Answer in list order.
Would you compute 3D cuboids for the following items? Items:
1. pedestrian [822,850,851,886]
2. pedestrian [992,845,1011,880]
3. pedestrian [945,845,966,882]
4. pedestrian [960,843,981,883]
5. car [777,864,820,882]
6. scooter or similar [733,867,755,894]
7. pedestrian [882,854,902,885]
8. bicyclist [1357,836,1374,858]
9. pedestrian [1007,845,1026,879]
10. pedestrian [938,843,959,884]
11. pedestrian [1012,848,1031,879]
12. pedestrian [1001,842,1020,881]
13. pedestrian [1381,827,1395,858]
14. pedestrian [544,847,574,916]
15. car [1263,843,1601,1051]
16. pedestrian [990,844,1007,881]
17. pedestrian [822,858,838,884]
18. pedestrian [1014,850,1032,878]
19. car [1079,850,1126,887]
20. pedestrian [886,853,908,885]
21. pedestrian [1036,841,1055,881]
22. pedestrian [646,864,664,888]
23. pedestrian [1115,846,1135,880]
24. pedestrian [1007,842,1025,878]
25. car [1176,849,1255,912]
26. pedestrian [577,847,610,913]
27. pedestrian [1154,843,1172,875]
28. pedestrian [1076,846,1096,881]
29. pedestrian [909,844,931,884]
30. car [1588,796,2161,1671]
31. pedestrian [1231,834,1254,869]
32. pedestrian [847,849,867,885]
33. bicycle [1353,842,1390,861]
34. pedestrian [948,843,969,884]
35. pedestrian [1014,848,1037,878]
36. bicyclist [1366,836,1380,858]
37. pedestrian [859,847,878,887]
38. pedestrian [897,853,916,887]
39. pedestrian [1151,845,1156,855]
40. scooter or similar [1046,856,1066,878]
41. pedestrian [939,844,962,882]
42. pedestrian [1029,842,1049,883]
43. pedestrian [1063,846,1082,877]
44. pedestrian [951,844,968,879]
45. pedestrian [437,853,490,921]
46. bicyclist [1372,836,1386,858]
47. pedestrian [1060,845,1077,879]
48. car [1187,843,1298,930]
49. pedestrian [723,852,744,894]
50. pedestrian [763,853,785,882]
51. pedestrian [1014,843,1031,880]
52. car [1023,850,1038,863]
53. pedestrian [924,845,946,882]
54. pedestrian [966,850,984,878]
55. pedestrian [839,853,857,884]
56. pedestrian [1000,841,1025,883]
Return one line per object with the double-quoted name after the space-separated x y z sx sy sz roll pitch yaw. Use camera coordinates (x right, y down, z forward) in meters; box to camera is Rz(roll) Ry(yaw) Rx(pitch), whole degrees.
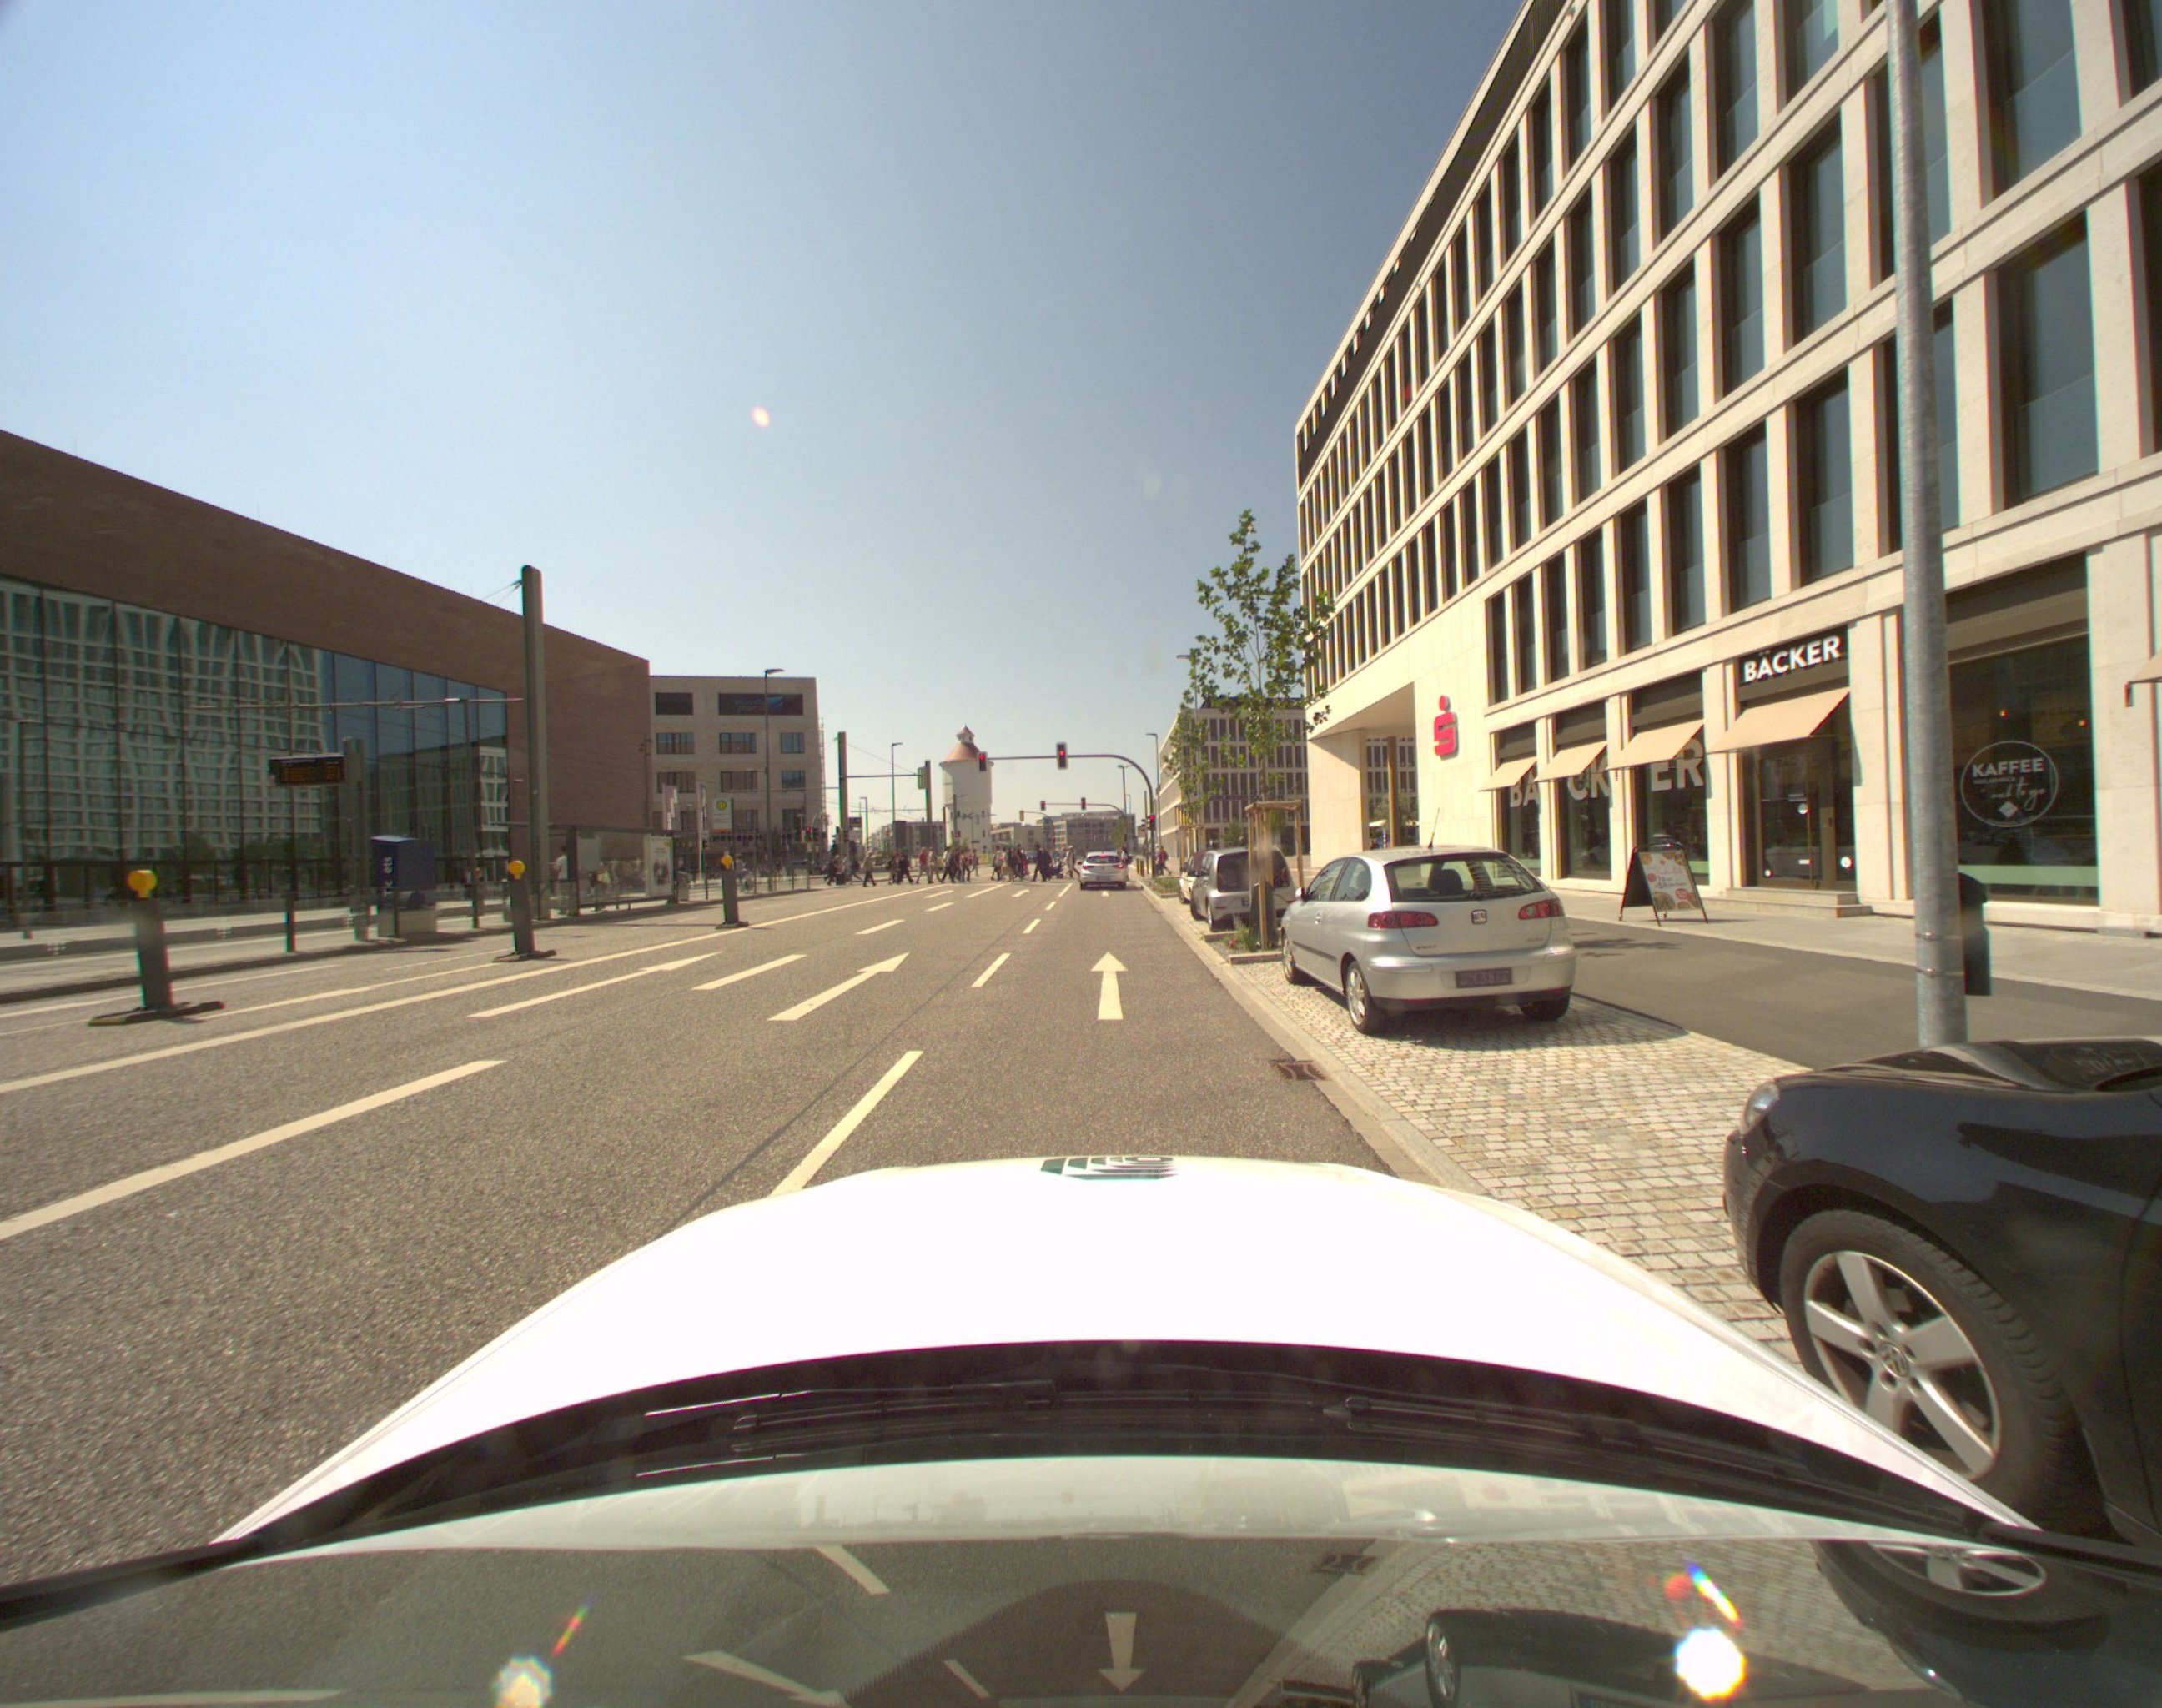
-13.218 0.749 44.077 1.164 1.890 1.061 -2 2 3 "pedestrian"
-4.018 0.442 41.183 0.763 1.734 0.692 -2 0 2 "pedestrian"
-6.561 0.482 42.720 0.884 1.890 0.797 -2 0 1 "pedestrian"
-5.344 0.412 39.521 0.886 1.890 0.691 -2 0 -4 "pedestrian"
-29.276 1.979 84.346 3.942 1.816 1.791 -1 -1 -11 "car"
-13.630 1.072 32.930 0.502 1.059 0.834 -2 0 1 "scooter or similar"
-9.602 0.788 41.384 0.724 1.576 0.642 -2 0 6 "pedestrian"
17.606 -0.428 50.344 0.616 1.360 0.898 -2 0 -10 "bicyclist"
-3.219 0.407 40.688 0.790 1.647 0.891 -2 0 3 "pedestrian"
-6.338 0.444 38.972 0.886 1.890 0.691 -2 0 -4 "pedestrian"
-3.301 0.515 45.355 0.883 1.647 0.797 -2 0 5 "pedestrian"
-3.460 0.373 39.935 0.726 1.890 0.822 -2 0 7 "pedestrian"
20.479 -0.770 54.307 0.641 2.013 0.622 -2 0 1 "pedestrian"
-13.962 0.723 21.807 0.551 1.820 0.596 0 0 -20 "pedestrian"
2.941 0.657 7.751 1.599 1.387 3.816 -4 0 2 "car"
-4.264 0.421 42.167 0.763 1.890 0.692 -2 0 2 "pedestrian"
-16.490 1.090 53.483 0.663 1.681 0.700 -2 0 42 "pedestrian"
-3.473 0.604 48.664 0.883 1.647 0.797 -2 0 5 "pedestrian"
0.901 0.595 32.411 1.764 1.395 3.535 0 -1 3 "car"
-9.804 0.788 43.416 0.906 1.637 0.815 -2 0 6 "pedestrian"
-1.741 0.345 39.983 0.886 1.890 0.795 -2 0 -4 "pedestrian"
-28.280 1.465 54.086 0.708 1.571 0.891 -2 0 1 "pedestrian"
2.159 0.424 39.586 0.760 1.620 0.695 -2 0 18 "pedestrian"
-3.483 0.320 43.711 0.837 1.890 0.692 -2 0 2 "pedestrian"
3.304 0.599 20.594 1.424 1.390 4.001 -2 0 1 "car"
-13.777 0.722 23.031 0.665 1.820 0.718 0 0 -21 "pedestrian"
4.310 0.283 43.015 0.883 1.646 0.798 -2 0 5 "pedestrian"
0.240 0.440 39.004 0.886 1.635 0.691 -2 0 -4 "pedestrian"
-7.803 0.482 39.424 0.886 1.890 0.691 -2 0 -4 "pedestrian"
2.698 0.611 0.806 1.732 1.474 3.977 -4 0 -2 "car"
7.852 -0.135 39.698 0.986 1.655 0.692 -2 0 3 "pedestrian"
-12.715 0.739 46.266 1.022 2.013 0.949 -2 0 -17 "pedestrian"
17.970 -0.152 50.404 1.962 1.083 0.902 -2 0 -10 "bicycle"
-5.738 0.428 38.217 0.886 1.890 0.691 -2 0 -4 "pedestrian"
-3.414 0.542 50.306 1.175 1.820 1.070 -2 0 5 "pedestrian"
18.097 -0.436 50.433 0.358 1.360 0.911 -2 0 -10 "bicyclist"
-10.254 0.617 39.282 0.634 1.890 0.797 -2 0 3 "pedestrian"
-8.619 0.789 40.186 0.630 1.618 0.770 -2 0 7 "pedestrian"
11.762 -0.596 131.963 0.791 1.647 0.891 -2 0 1 "pedestrian"
-1.365 0.692 44.186 0.950 1.118 0.765 -2 0 -8 "scooter or similar"
-6.573 0.460 41.091 0.883 1.890 0.798 -2 0 6 "pedestrian"
-2.037 0.410 39.122 0.886 1.890 0.795 -2 0 -4 "pedestrian"
-0.459 0.382 44.322 0.887 1.647 0.794 -2 0 -8 "pedestrian"
-6.585 0.402 44.056 0.730 1.890 0.715 0 0 6 "pedestrian"
-16.869 0.874 22.263 0.808 1.820 0.825 0 0 2 "pedestrian"
18.462 -0.447 50.502 0.358 1.360 0.899 -2 0 -9 "bicyclist"
-0.655 0.411 42.909 0.763 1.734 0.692 -2 0 2 "pedestrian"
3.047 0.570 15.988 1.550 1.472 3.471 -2 0 1 "car"
-13.657 0.753 32.045 0.502 1.622 0.650 -2 0 1 "pedestrian"
-20.478 0.887 54.299 0.880 1.890 0.989 -2 0 21 "pedestrian"
-3.071 0.390 42.759 0.763 1.890 0.692 -2 0 2 "pedestrian"
-6.568 0.345 106.165 1.581 1.530 3.692 -1 -1 0 "car"
-7.572 0.489 42.166 0.883 1.890 0.798 -2 0 6 "pedestrian"
-6.459 0.599 49.539 0.883 1.647 0.797 -2 0 5 "pedestrian"
-12.938 0.782 45.225 0.895 1.674 1.007 -2 0 -17 "pedestrian"
-3.155 0.363 37.638 1.010 1.890 0.798 -2 0 -1 "pedestrian"
